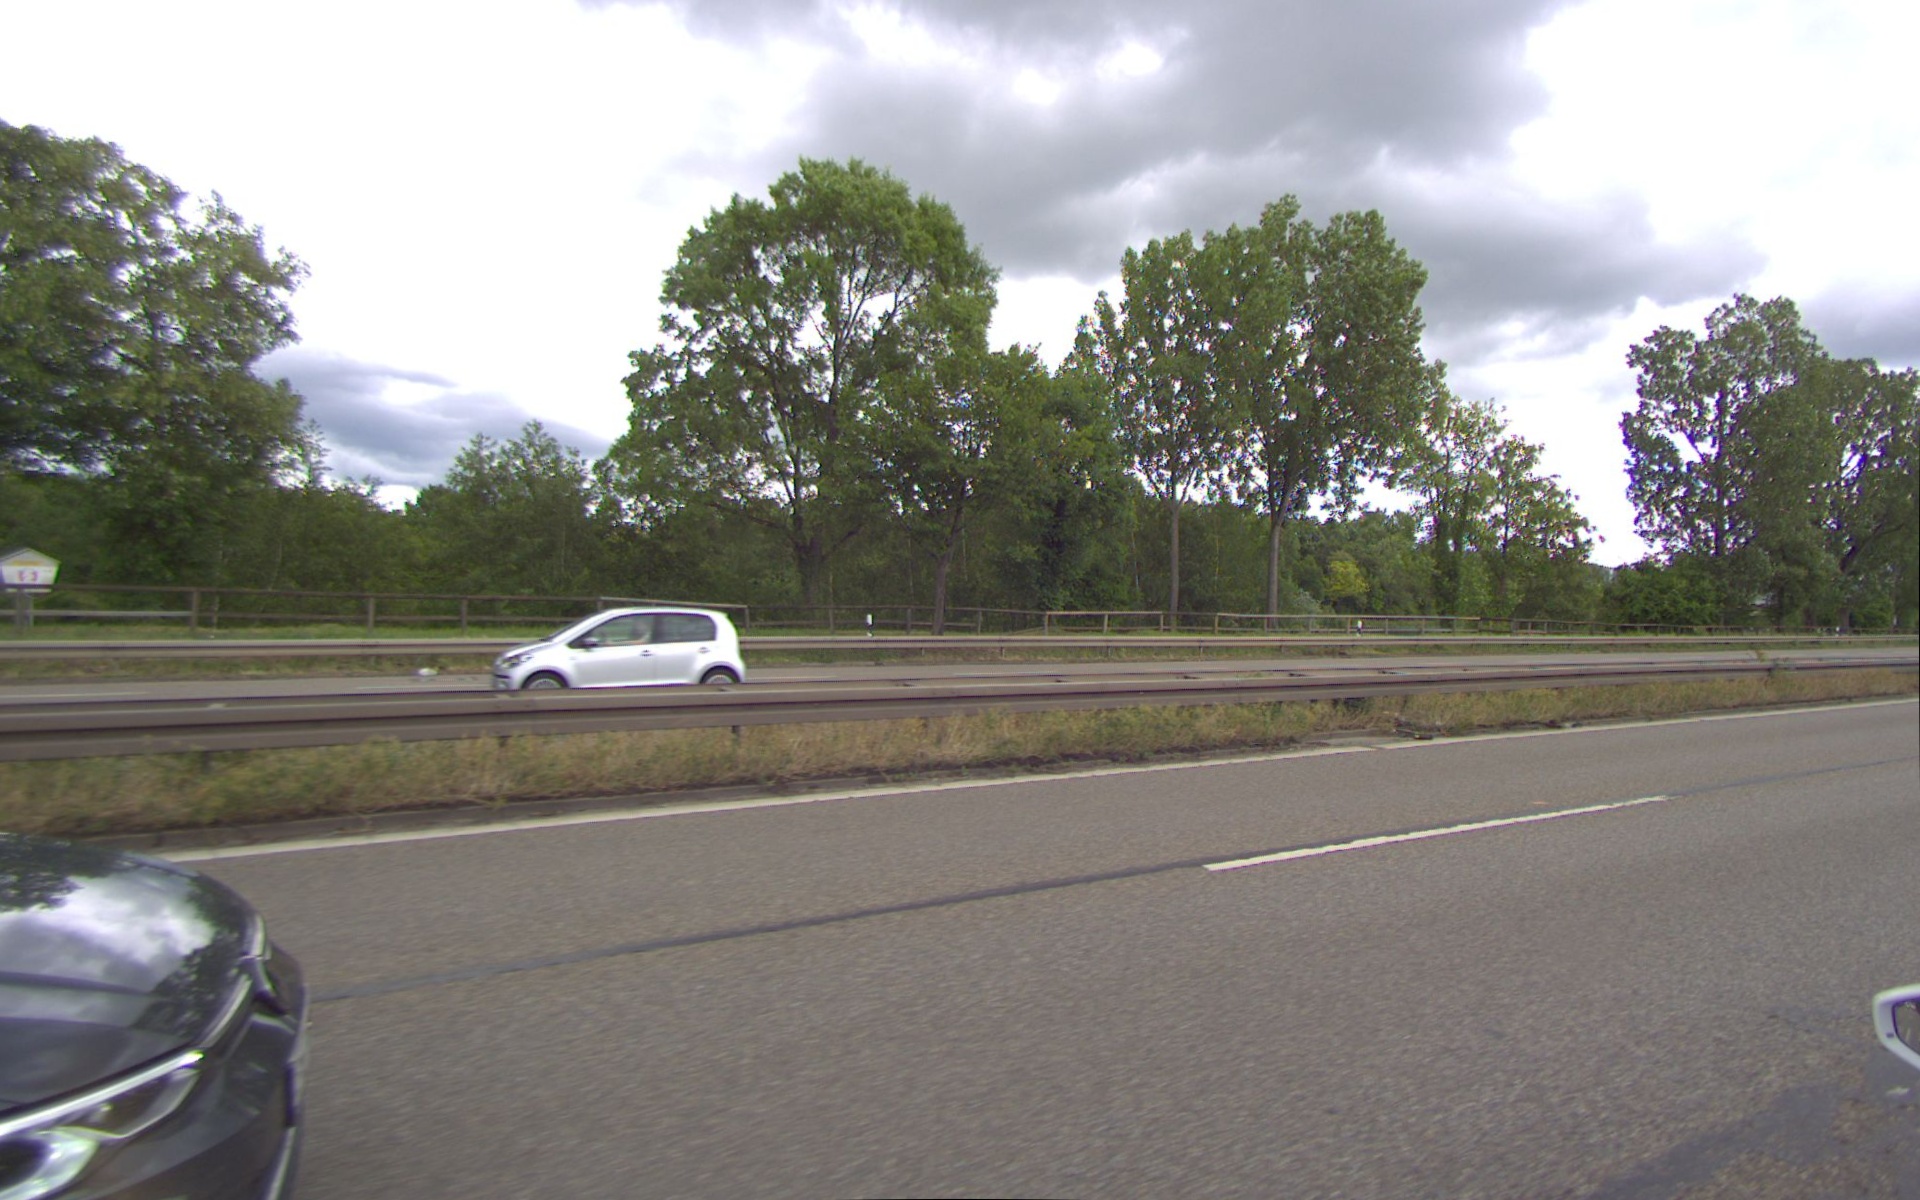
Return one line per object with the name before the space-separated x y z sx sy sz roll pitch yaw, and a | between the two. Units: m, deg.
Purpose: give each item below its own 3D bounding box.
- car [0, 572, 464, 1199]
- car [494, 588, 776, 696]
car | -3.339 0.654 1.183 4.842 1.442 1.836 1 1 -30
car | -4.744 0.566 14.759 3.689 1.404 1.606 1 1 -30
